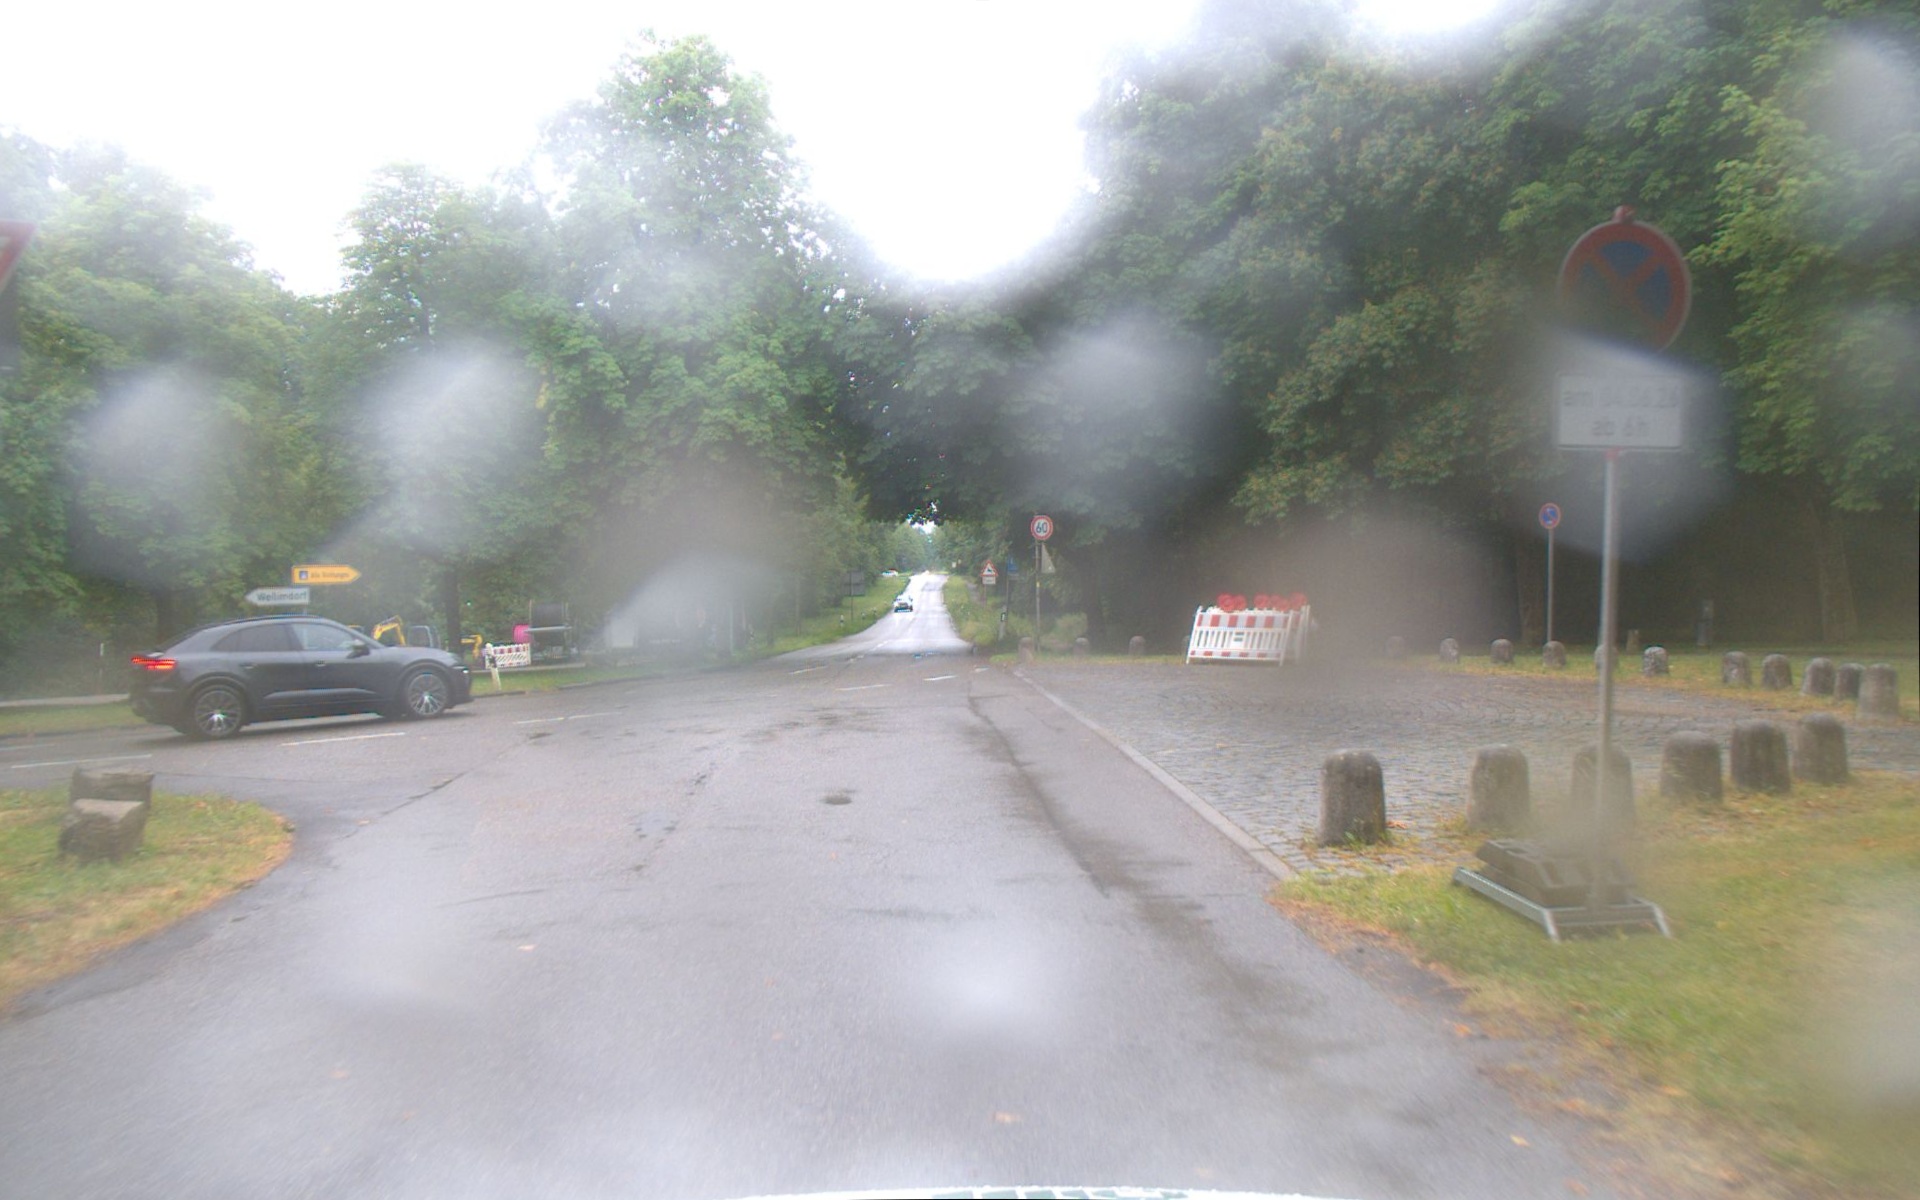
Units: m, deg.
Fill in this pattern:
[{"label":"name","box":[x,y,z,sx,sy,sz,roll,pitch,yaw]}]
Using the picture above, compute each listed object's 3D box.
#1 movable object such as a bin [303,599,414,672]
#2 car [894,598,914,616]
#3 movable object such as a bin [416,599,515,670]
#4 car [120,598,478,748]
[{"label":"movable object such as a bin","box":[-30.383,1.766,83.758,4.573,3.351,3.902,-3,0,-12]},{"label":"car","box":[-5.719,0.705,169.897,1.953,1.747,3.999,-2,0,-1]},{"label":"movable object such as a bin","box":[-25.492,1.743,85.489,4.502,3.351,3.655,-3,0,-12]},{"label":"car","box":[-9.566,0.992,24.106,4.523,1.738,1.710,-4,1,-35]}]
